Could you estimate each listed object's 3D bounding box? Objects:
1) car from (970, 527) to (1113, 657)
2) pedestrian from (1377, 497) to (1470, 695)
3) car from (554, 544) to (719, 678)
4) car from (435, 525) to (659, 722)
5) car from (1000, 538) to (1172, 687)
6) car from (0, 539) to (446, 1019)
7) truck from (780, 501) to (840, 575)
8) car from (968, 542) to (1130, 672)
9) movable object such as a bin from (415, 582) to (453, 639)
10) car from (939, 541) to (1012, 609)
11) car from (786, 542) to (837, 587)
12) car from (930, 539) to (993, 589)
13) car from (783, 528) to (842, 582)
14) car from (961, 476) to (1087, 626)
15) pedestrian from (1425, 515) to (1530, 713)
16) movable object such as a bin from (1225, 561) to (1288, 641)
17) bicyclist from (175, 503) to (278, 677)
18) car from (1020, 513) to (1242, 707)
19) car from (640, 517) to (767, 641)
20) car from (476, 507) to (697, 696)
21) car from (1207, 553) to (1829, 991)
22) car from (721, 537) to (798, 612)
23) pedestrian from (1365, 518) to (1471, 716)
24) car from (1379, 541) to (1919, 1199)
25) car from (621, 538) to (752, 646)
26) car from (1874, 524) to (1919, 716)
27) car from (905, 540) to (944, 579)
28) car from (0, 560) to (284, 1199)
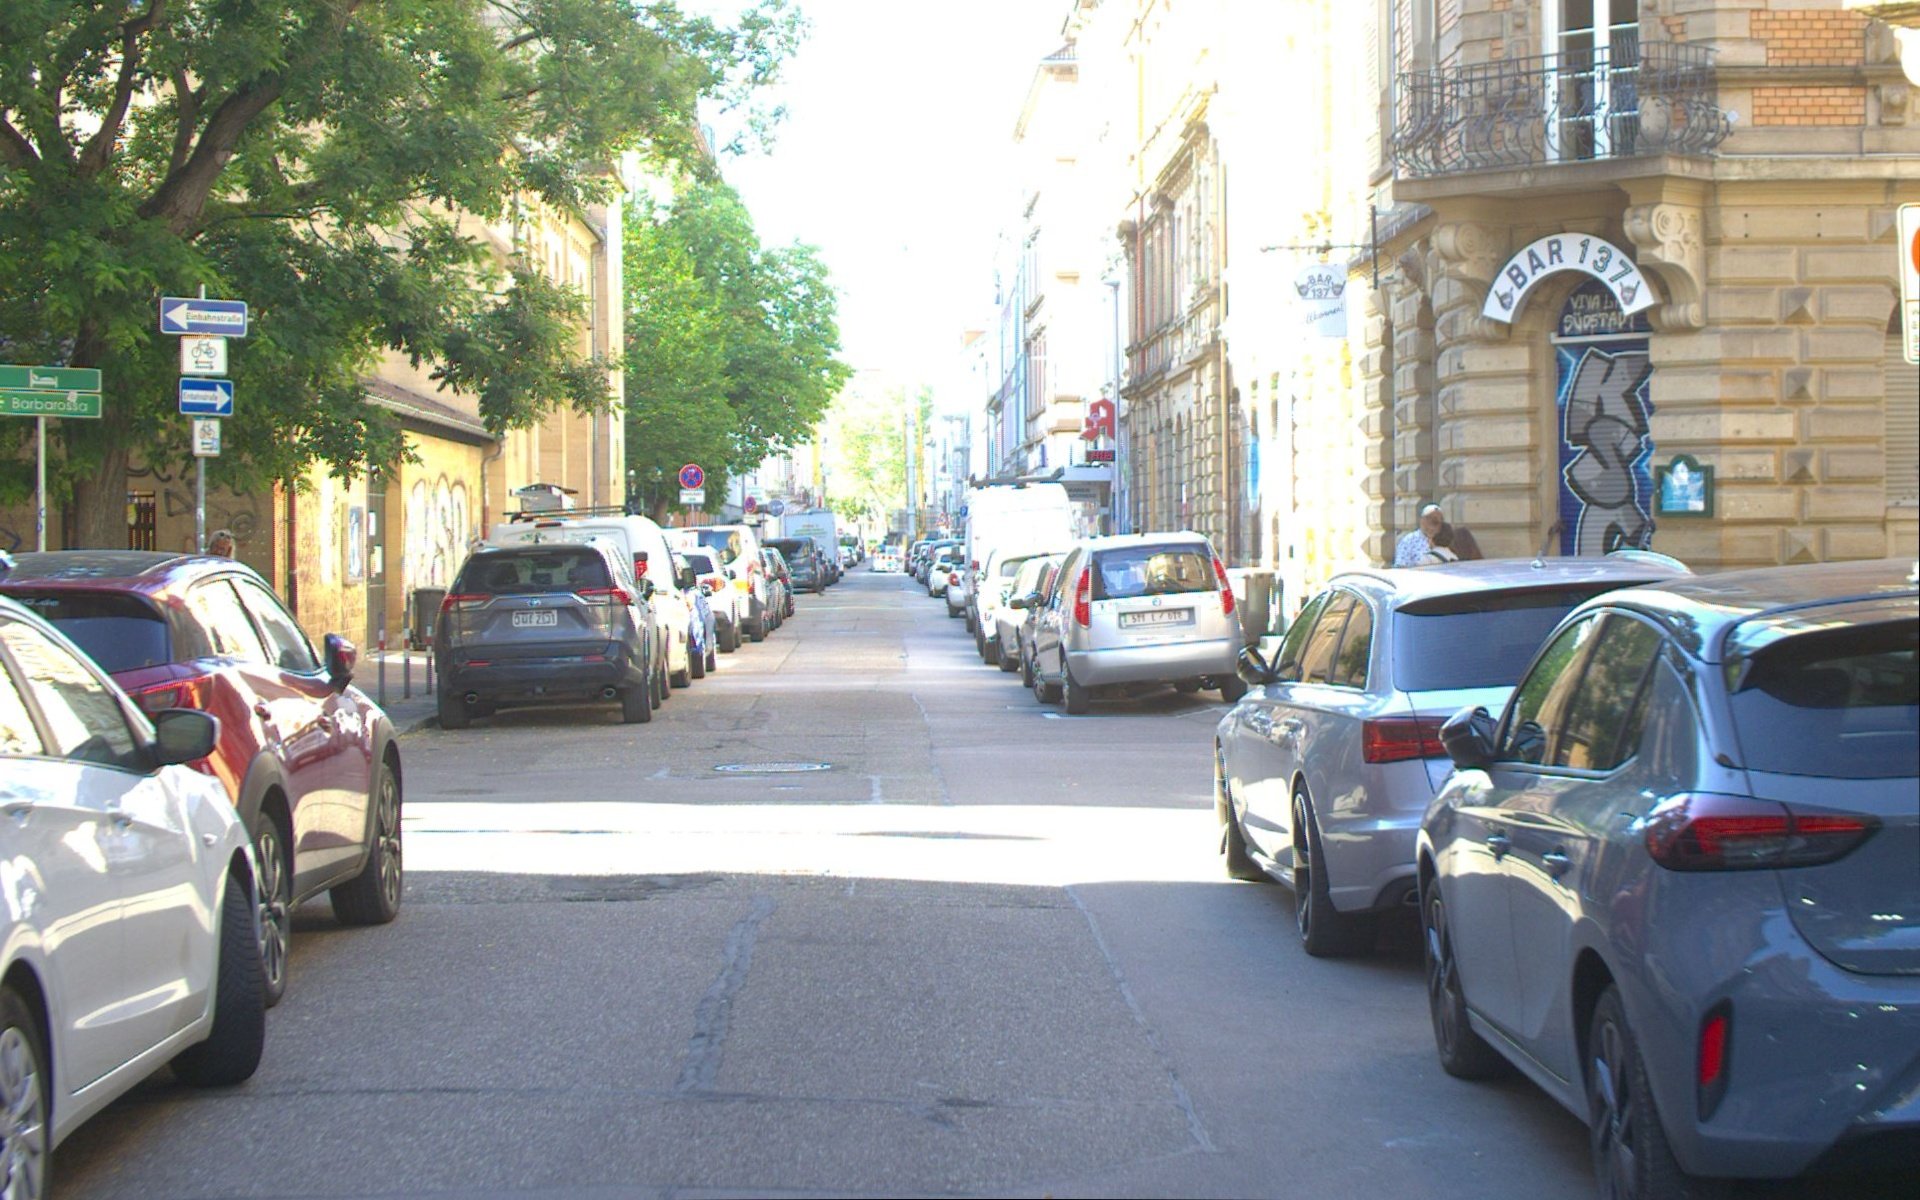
[{"bbox_3d":[1.088,-0.126,47.801,1.807,1.684,4.214,1,1,-1],"label":"car"},{"bbox_3d":[4.132,-0.046,30.655,0.574,1.727,0.664,-2,2,-14],"label":"pedestrian"},{"bbox_3d":[-3.889,0.096,41.860,1.687,1.471,3.861,-3,1,-2],"label":"car"},{"bbox_3d":[-3.692,0.158,31.328,1.740,1.641,4.290,-1,1,-3],"label":"car"},{"bbox_3d":[1.342,0.098,37.821,1.535,1.508,3.682,-1,1,-3],"label":"car"},{"bbox_3d":[-3.056,0.524,12.767,1.722,1.476,4.090,1,1,-1],"label":"car"},{"bbox_3d":[-6.819,-2.841,157.041,2.532,3.270,6.995,-1,1,-1],"label":"truck"},{"bbox_3d":[1.084,0.054,43.429,1.572,1.520,3.909,2,1,-5],"label":"car"},{"bbox_3d":[-7.592,0.155,49.631,0.453,0.805,0.590,0,1,-1],"label":"movable object such as a bin"},{"bbox_3d":[0.340,-0.594,78.347,1.603,1.499,4.000,1,1,0],"label":"car"},{"bbox_3d":[-6.092,-1.467,140.600,1.875,1.790,4.001,-1,1,-5],"label":"car"},{"bbox_3d":[0.024,-1.139,106.857,1.897,1.483,3.870,-1,1,-1],"label":"car"},{"bbox_3d":[-5.080,-1.570,118.732,1.875,1.790,4.000,-1,1,-1],"label":"car"},{"bbox_3d":[1.106,-0.913,62.413,2.068,2.602,5.888,0,1,-1],"label":"car"},{"bbox_3d":[4.326,0.107,28.756,0.574,1.616,0.734,-2,2,-16],"label":"pedestrian"},{"bbox_3d":[4.048,0.013,46.950,0.548,1.049,0.603,-4,2,-34],"label":"movable object such as a bin"},{"bbox_3d":[-7.429,-0.111,34.832,0.805,1.717,0.692,2,2,7],"label":"bicyclist"},{"bbox_3d":[1.583,0.051,33.042,1.703,1.708,3.938,-1,1,-3],"label":"car"},{"bbox_3d":[-4.320,-0.387,58.497,1.864,1.950,4.611,-2,1,-2],"label":"car"},{"bbox_3d":[-3.899,-0.042,36.562,1.845,1.856,4.465,-1,1,0],"label":"car"},{"bbox_3d":[2.062,0.556,13.969,1.706,1.454,4.511,1,1,-1],"label":"car"},{"bbox_3d":[-4.609,-0.615,79.450,1.600,1.608,3.809,-3,1,-2],"label":"car"},{"bbox_3d":[3.793,0.128,28.504,0.590,1.598,0.727,-2,2,-16],"label":"pedestrian"},{"bbox_3d":[2.139,0.619,8.514,1.666,1.474,3.888,-1,2,-1],"label":"car"},{"bbox_3d":[-4.137,-0.146,52.444,1.742,1.581,3.869,0,1,-1],"label":"car"},{"bbox_3d":[9.291,0.125,26.583,3.980,1.447,1.733,-1,2,0],"label":"car"},{"bbox_3d":[-1.897,-2.176,183.194,1.993,2.007,4.000,-1,1,-1],"label":"car"},{"bbox_3d":[-2.743,0.624,8.114,1.674,1.416,3.875,1,1,-3],"label":"car"}]
